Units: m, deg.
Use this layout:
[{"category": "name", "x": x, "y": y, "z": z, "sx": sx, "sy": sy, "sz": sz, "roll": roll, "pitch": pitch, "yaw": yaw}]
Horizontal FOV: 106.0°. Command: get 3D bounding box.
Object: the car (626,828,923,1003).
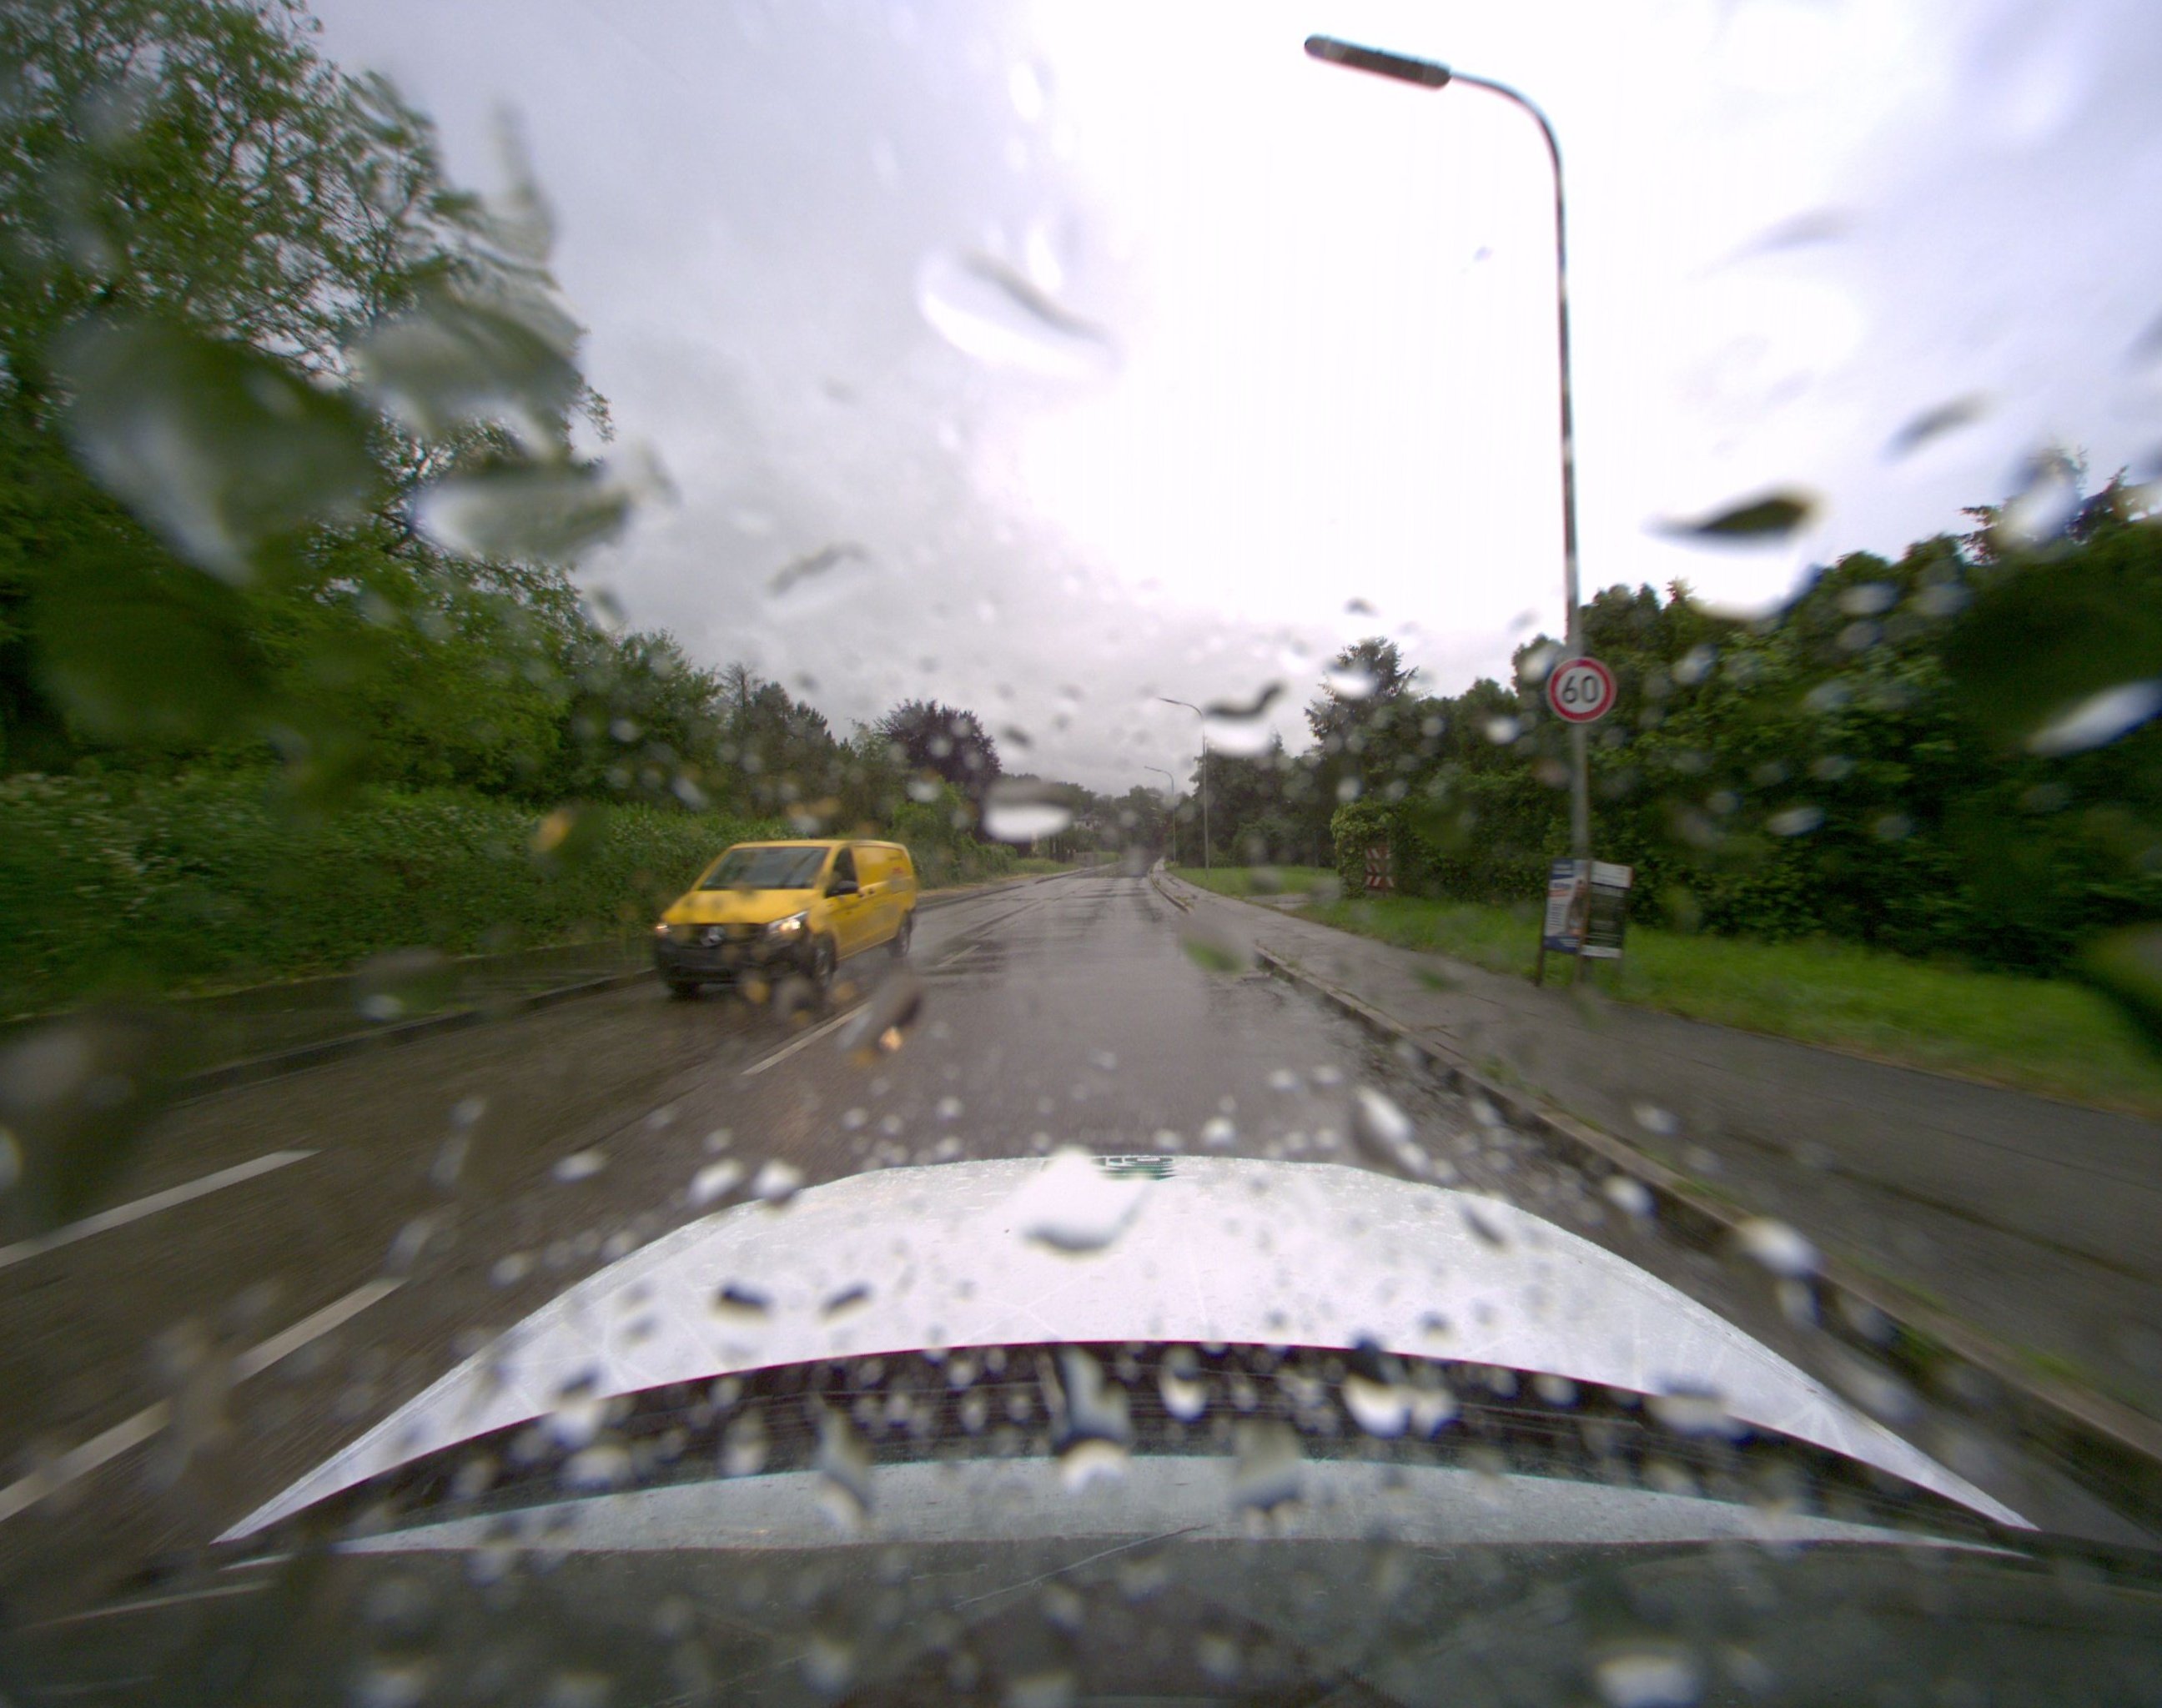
[{"category": "car", "x": -3.872, "y": 0.684, "z": 11.484, "sx": 1.929, "sy": 1.871, "sz": 5.041, "roll": -2, "pitch": 0, "yaw": 4}]
